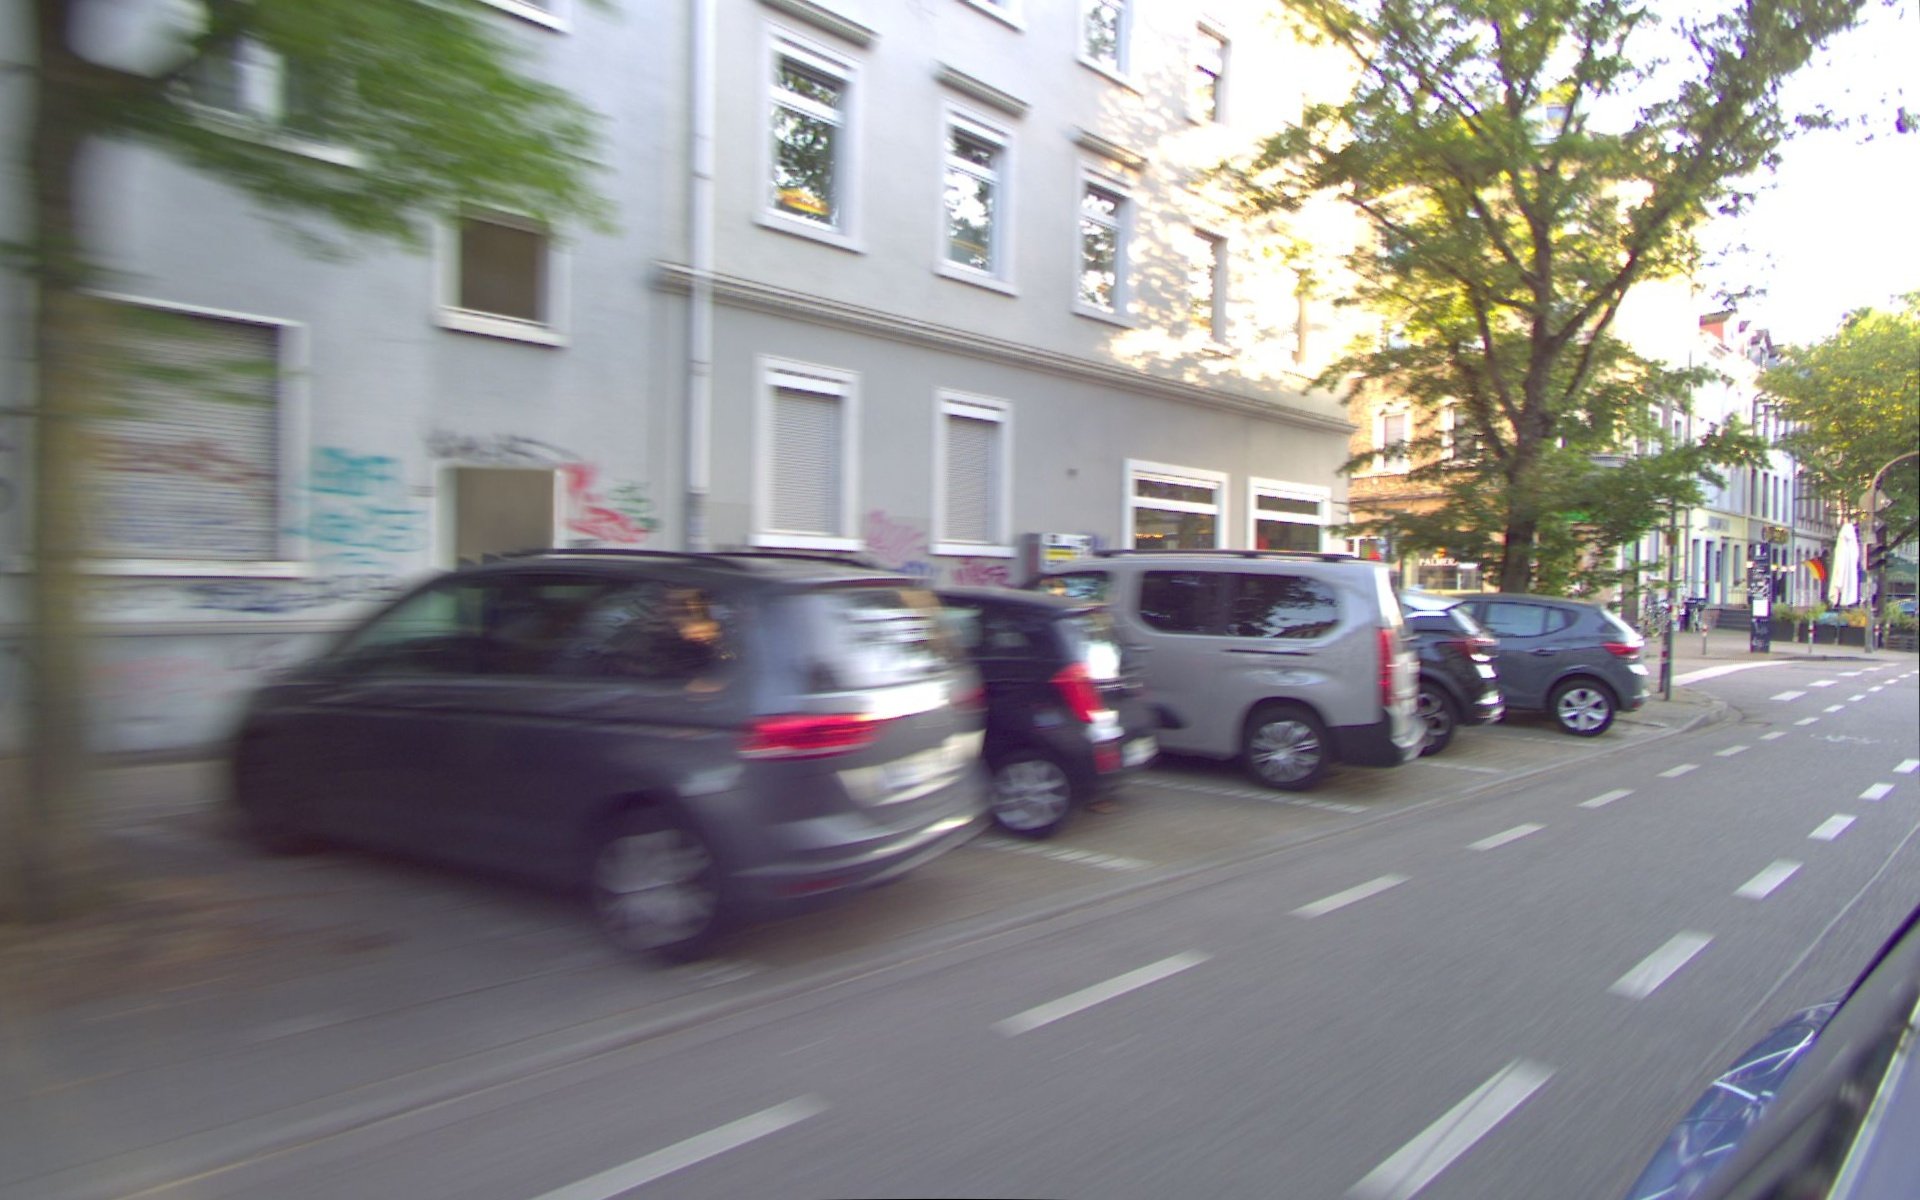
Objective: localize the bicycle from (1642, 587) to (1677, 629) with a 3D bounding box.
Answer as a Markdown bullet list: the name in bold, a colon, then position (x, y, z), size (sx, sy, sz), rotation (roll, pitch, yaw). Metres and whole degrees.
- **bicycle**: position (21.221, 0.226, 30.690), size (1.558, 1.226, 0.524), rotation (0, 0, -41)

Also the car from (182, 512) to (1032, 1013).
- **car**: position (-1.905, 0.471, 5.253), size (4.153, 1.717, 1.829), rotation (2, 1, 28)

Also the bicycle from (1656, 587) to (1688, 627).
- **bicycle**: position (22.582, 0.209, 32.101), size (1.558, 1.226, 0.470), rotation (0, 0, -41)

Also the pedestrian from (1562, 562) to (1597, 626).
- **pedestrian**: position (18.468, -0.182, 30.173), size (0.600, 1.855, 0.560), rotation (3, 0, -4)

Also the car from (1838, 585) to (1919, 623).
- **car**: position (42.242, 0.219, 44.892), size (4.586, 1.536, 1.796), rotation (3, 1, 24)

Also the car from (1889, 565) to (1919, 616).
- **car**: position (52.354, -0.400, 52.923), size (5.197, 2.653, 1.905), rotation (3, 2, 34)

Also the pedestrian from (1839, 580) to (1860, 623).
- **pedestrian**: position (37.674, 0.055, 42.863), size (0.633, 1.774, 0.499), rotation (0, 2, -36)

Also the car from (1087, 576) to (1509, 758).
- **car**: position (3.499, 0.558, 10.650), size (3.964, 1.586, 1.703), rotation (1, 1, 29)

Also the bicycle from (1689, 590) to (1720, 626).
- **bicycle**: position (25.655, 0.257, 34.855), size (1.752, 1.225, 0.470), rotation (0, 0, -41)

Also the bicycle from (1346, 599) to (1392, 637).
- **bicycle**: position (12.543, 0.554, 31.035), size (1.855, 1.114, 0.509), rotation (2, -1, -41)

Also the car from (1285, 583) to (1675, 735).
- **car**: position (6.190, 0.589, 12.349), size (3.967, 1.559, 1.760), rotation (1, 1, 31)

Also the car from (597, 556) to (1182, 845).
- **car**: position (-0.575, 0.513, 7.362), size (3.964, 1.586, 1.703), rotation (2, 1, 29)

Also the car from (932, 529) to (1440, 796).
- **car**: position (1.930, 0.361, 8.850), size (3.965, 1.838, 1.806), rotation (3, 2, 29)

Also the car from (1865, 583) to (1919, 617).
- **car**: position (44.658, 0.053, 46.687), size (4.093, 1.470, 1.788), rotation (3, 1, 35)
